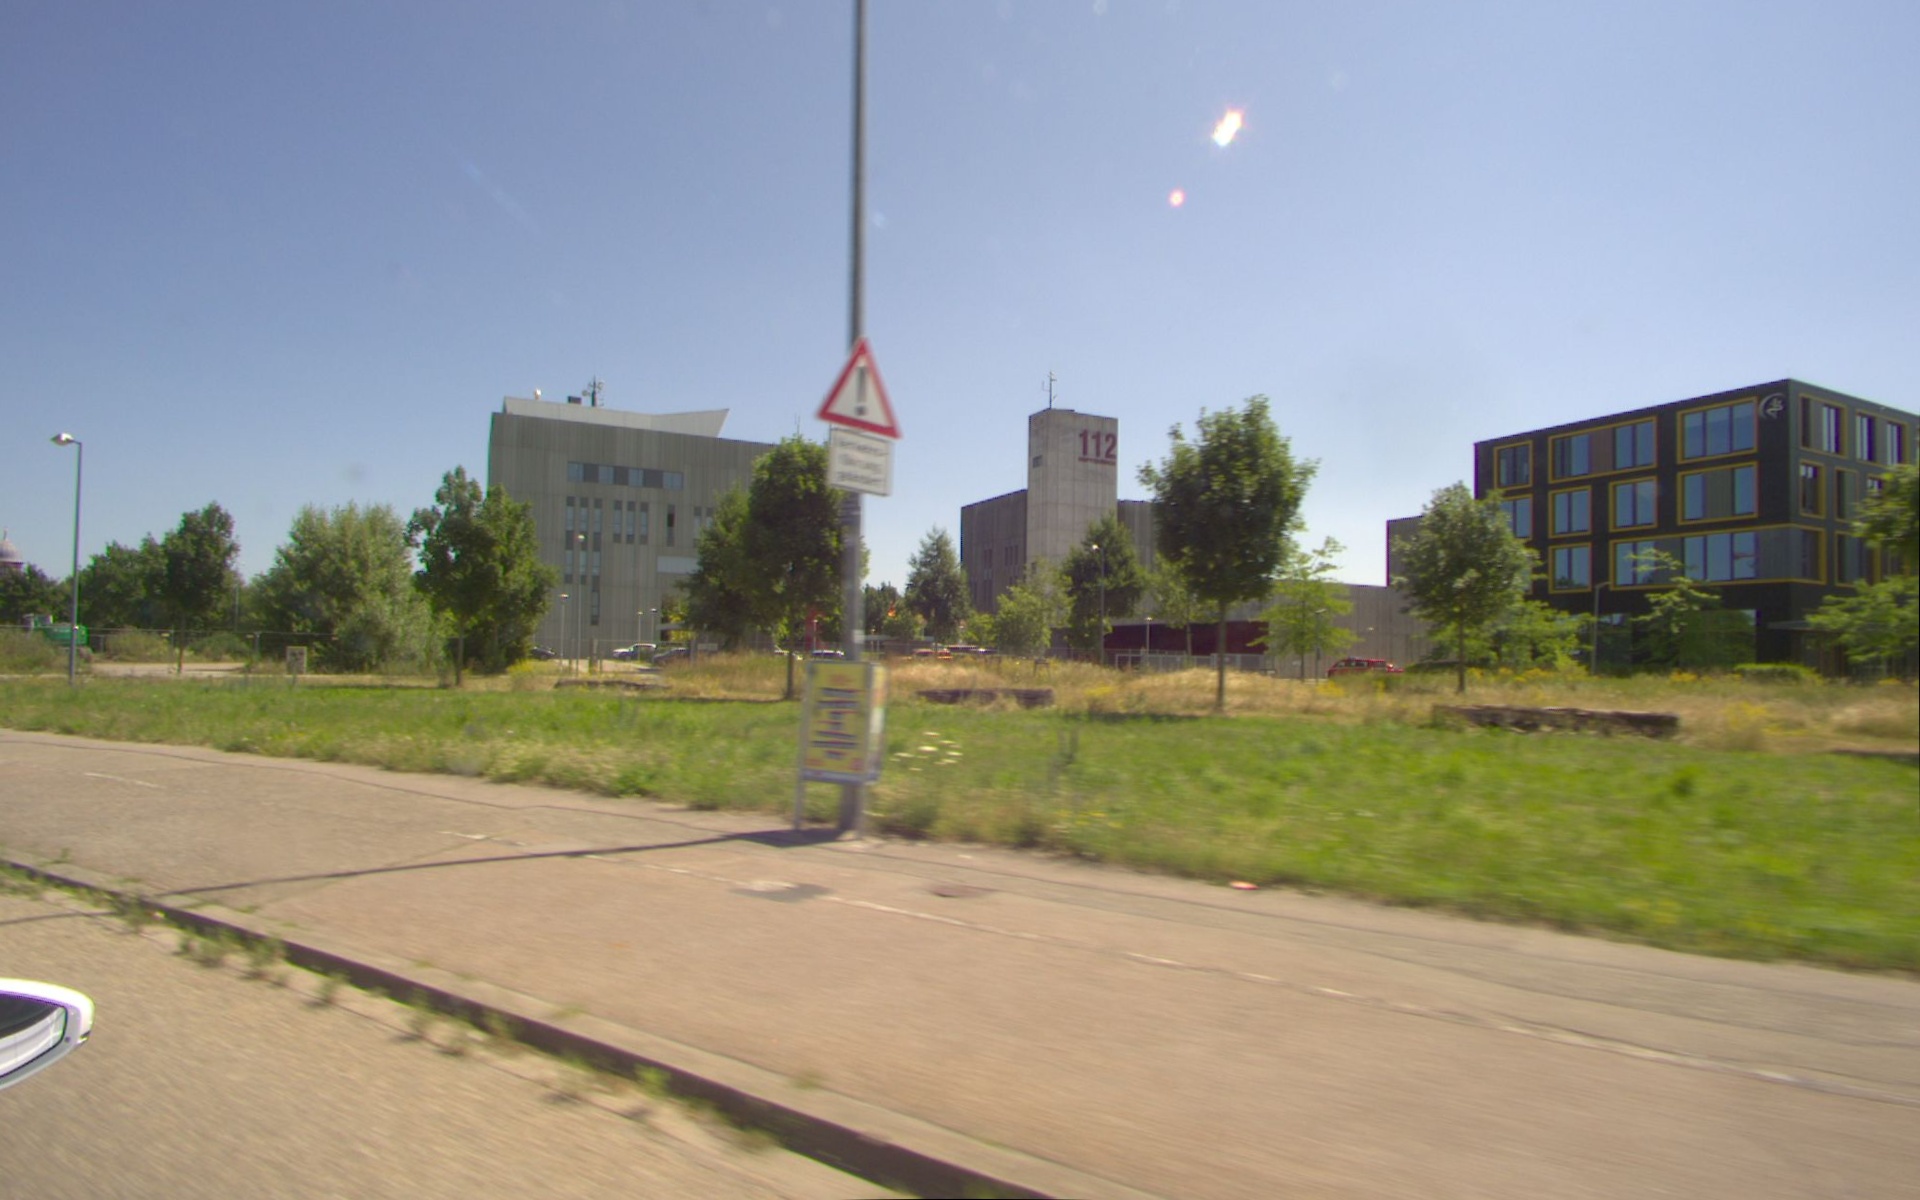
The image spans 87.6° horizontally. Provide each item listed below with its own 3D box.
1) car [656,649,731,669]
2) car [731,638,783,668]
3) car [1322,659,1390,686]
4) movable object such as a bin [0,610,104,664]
[{"bbox_3d":[-19.489,4.318,73.312,5.005,1.454,1.992,2,-3,-28],"label":"car"},{"bbox_3d":[-16.412,4.280,80.944,3.796,2.323,1.736,2,-3,-26],"label":"car"},{"bbox_3d":[32.477,5.959,82.333,2.203,2.141,5.144,2,-4,-25],"label":"car"},{"bbox_3d":[-61.689,2.441,64.886,10.285,3.300,4.950,0,-3,20],"label":"movable object such as a bin"}]
